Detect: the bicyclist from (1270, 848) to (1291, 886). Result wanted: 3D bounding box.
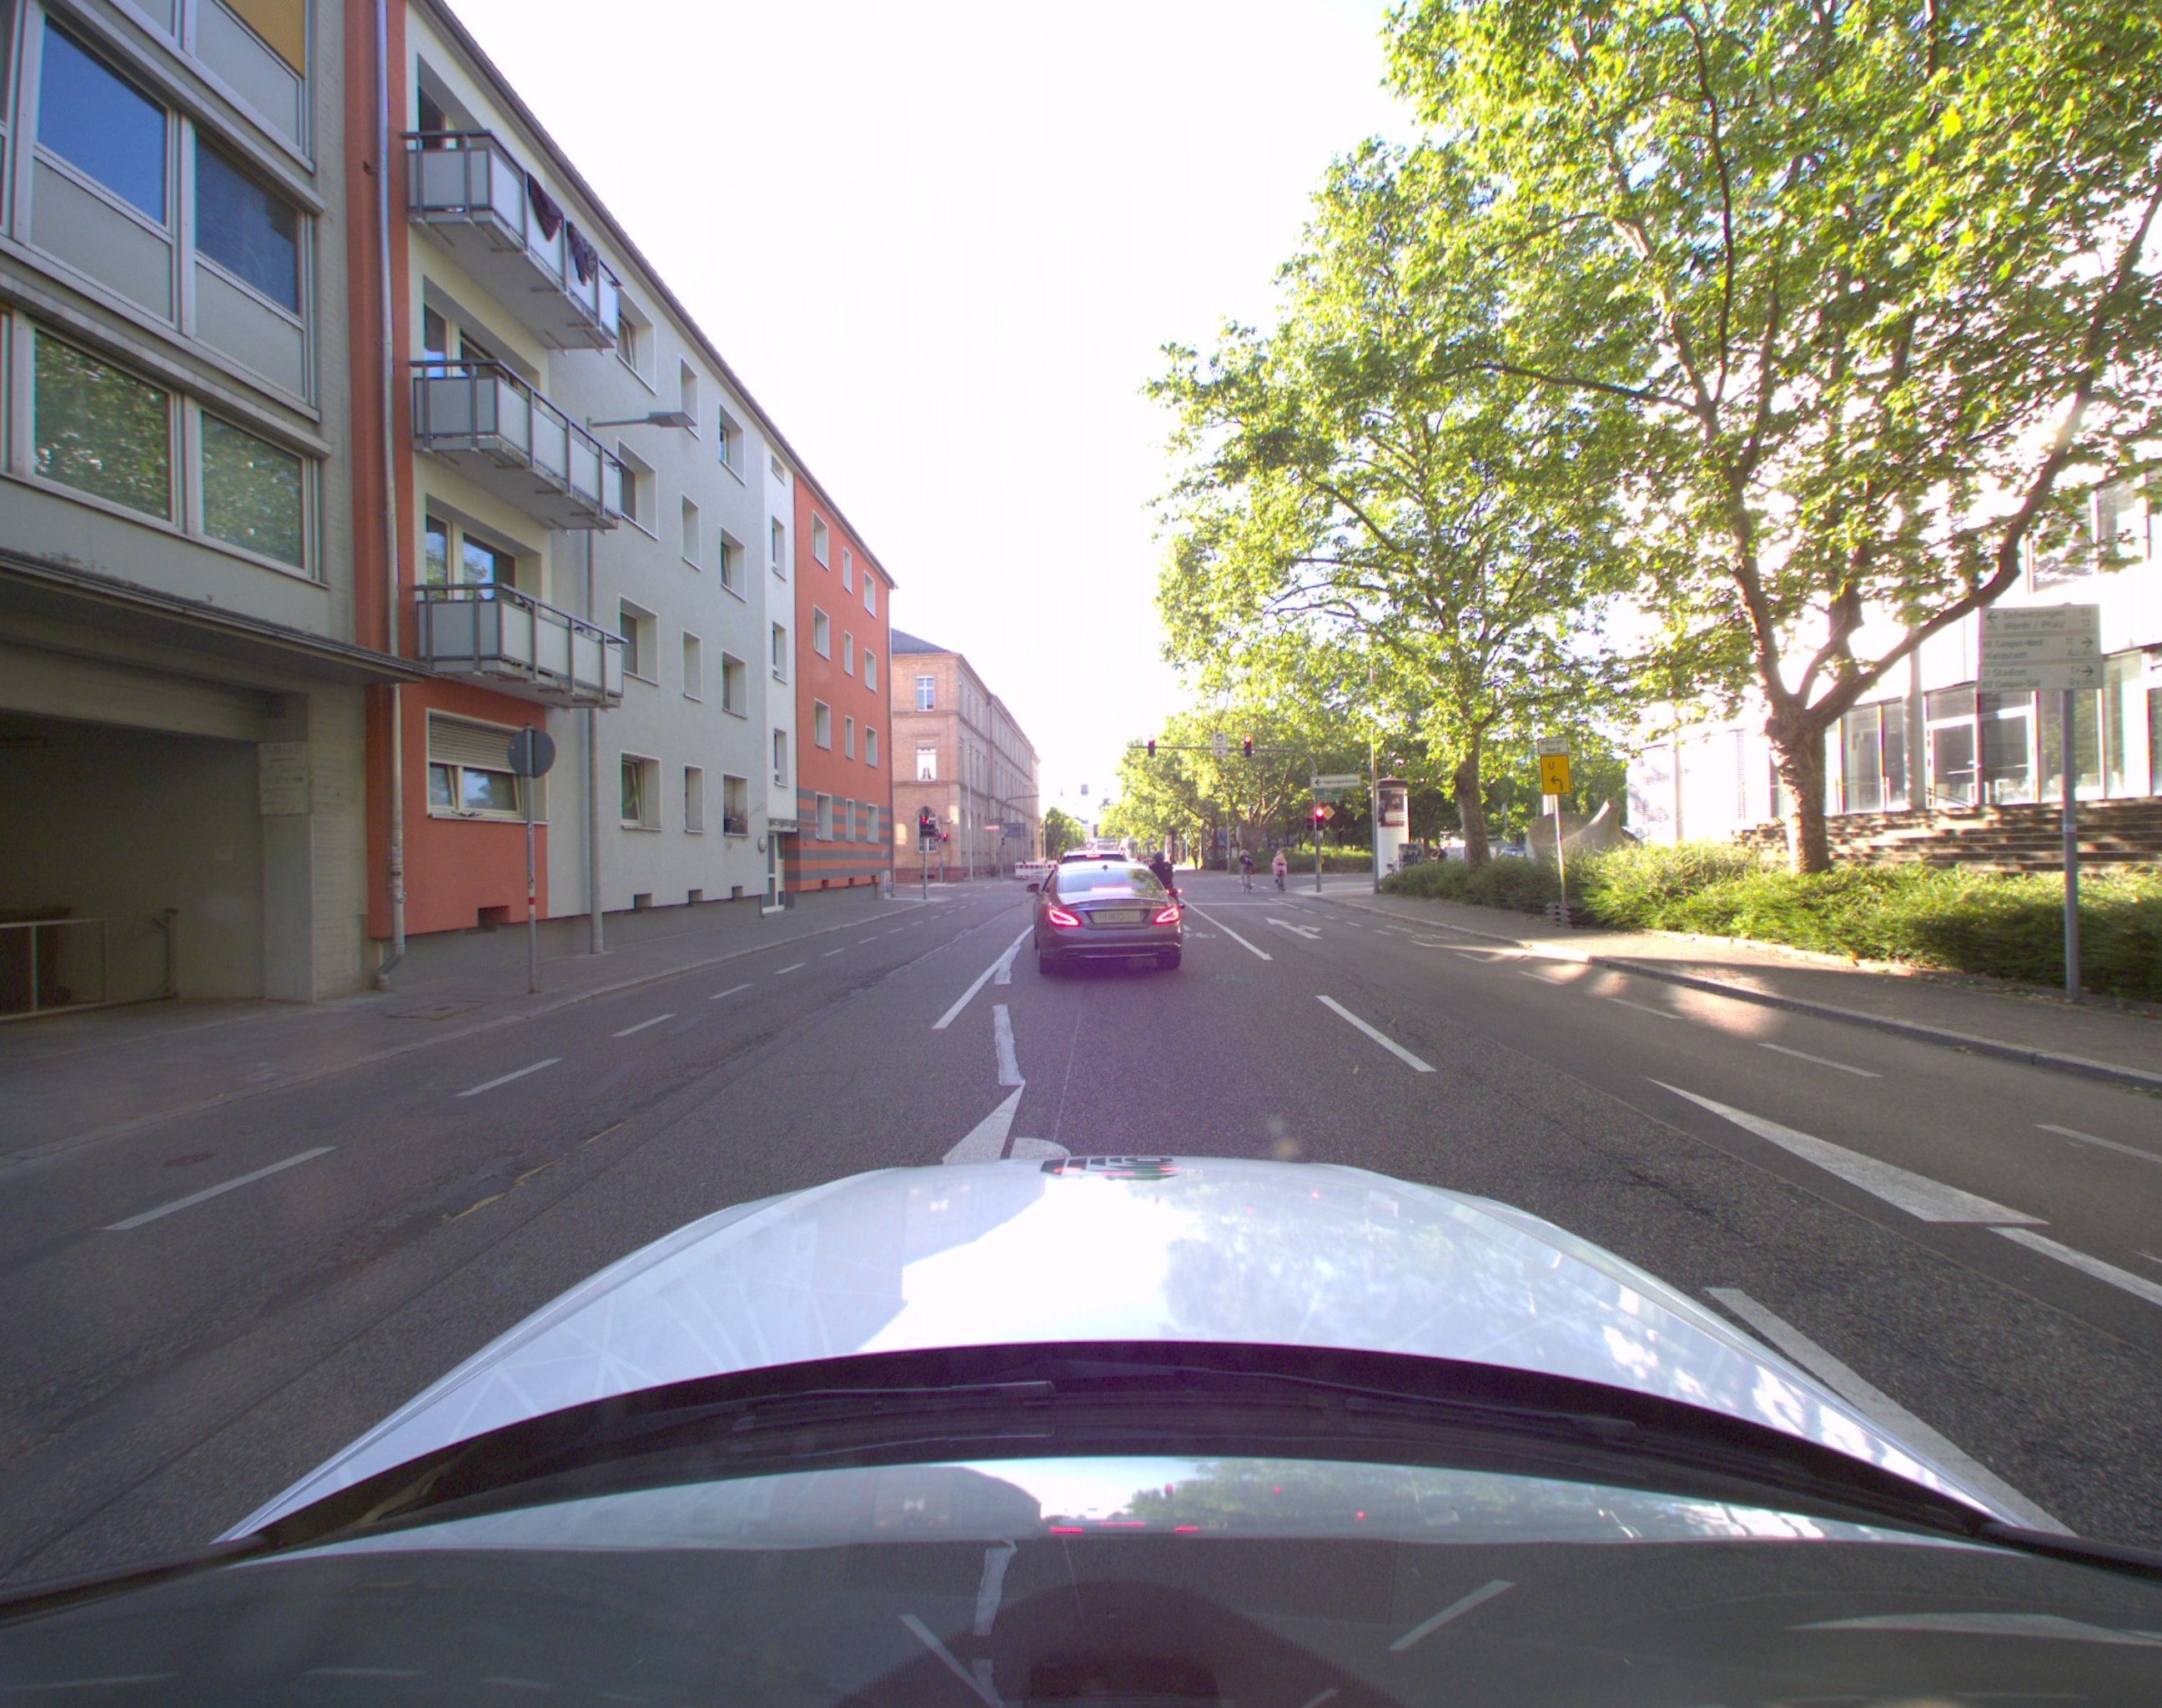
[{"bbox_3d":[7.631,0.490,31.164,0.598,1.402,0.931,1,0,2],"label":"bicyclist"}]

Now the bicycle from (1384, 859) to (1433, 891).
[{"bbox_3d":[10.981,0.705,27.338,1.411,1.037,0.538,-1,0,-2],"label":"bicycle"}]

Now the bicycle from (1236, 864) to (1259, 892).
[{"bbox_3d":[6.383,0.905,31.298,0.608,1.026,1.732,0,0,2],"label":"bicycle"}]

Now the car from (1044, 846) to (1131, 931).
[{"bbox_3d":[0.149,0.677,17.791,1.676,1.625,3.841,-1,0,1],"label":"car"}]

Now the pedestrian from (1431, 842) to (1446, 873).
[{"bbox_3d":[21.011,0.207,47.901,0.617,1.784,0.631,-1,0,4],"label":"pedestrian"}]

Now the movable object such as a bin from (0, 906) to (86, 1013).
[{"bbox_3d":[-11.287,1.099,8.635,0.584,1.040,0.712,-1,0,2],"label":"movable object such as a bin"}]

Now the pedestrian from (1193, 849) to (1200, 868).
[{"bbox_3d":[10.416,0.391,73.539,0.557,1.678,0.565,-1,0,1],"label":"pedestrian"}]

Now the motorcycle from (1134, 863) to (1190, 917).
[{"bbox_3d":[1.968,0.849,20.283,1.005,1.204,2.662,-1,0,-2],"label":"motorcycle"}]

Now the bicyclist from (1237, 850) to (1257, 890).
[{"bbox_3d":[6.385,0.595,31.286,0.608,1.516,0.890,0,0,2],"label":"bicyclist"}]

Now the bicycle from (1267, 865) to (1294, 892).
[{"bbox_3d":[7.624,0.927,31.186,0.598,0.985,1.882,1,0,2],"label":"bicycle"}]

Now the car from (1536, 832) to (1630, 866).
[{"bbox_3d":[28.005,-0.252,45.528,3.975,1.784,2.004,-1,0,7],"label":"car"}]

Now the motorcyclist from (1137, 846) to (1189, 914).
[{"bbox_3d":[2.022,0.629,20.378,1.110,1.613,1.201,-1,0,-3],"label":"motorcyclist"}]

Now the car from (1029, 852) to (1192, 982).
[{"bbox_3d":[0.223,0.743,11.754,1.818,1.476,4.346,-1,0,-5],"label":"car"}]
